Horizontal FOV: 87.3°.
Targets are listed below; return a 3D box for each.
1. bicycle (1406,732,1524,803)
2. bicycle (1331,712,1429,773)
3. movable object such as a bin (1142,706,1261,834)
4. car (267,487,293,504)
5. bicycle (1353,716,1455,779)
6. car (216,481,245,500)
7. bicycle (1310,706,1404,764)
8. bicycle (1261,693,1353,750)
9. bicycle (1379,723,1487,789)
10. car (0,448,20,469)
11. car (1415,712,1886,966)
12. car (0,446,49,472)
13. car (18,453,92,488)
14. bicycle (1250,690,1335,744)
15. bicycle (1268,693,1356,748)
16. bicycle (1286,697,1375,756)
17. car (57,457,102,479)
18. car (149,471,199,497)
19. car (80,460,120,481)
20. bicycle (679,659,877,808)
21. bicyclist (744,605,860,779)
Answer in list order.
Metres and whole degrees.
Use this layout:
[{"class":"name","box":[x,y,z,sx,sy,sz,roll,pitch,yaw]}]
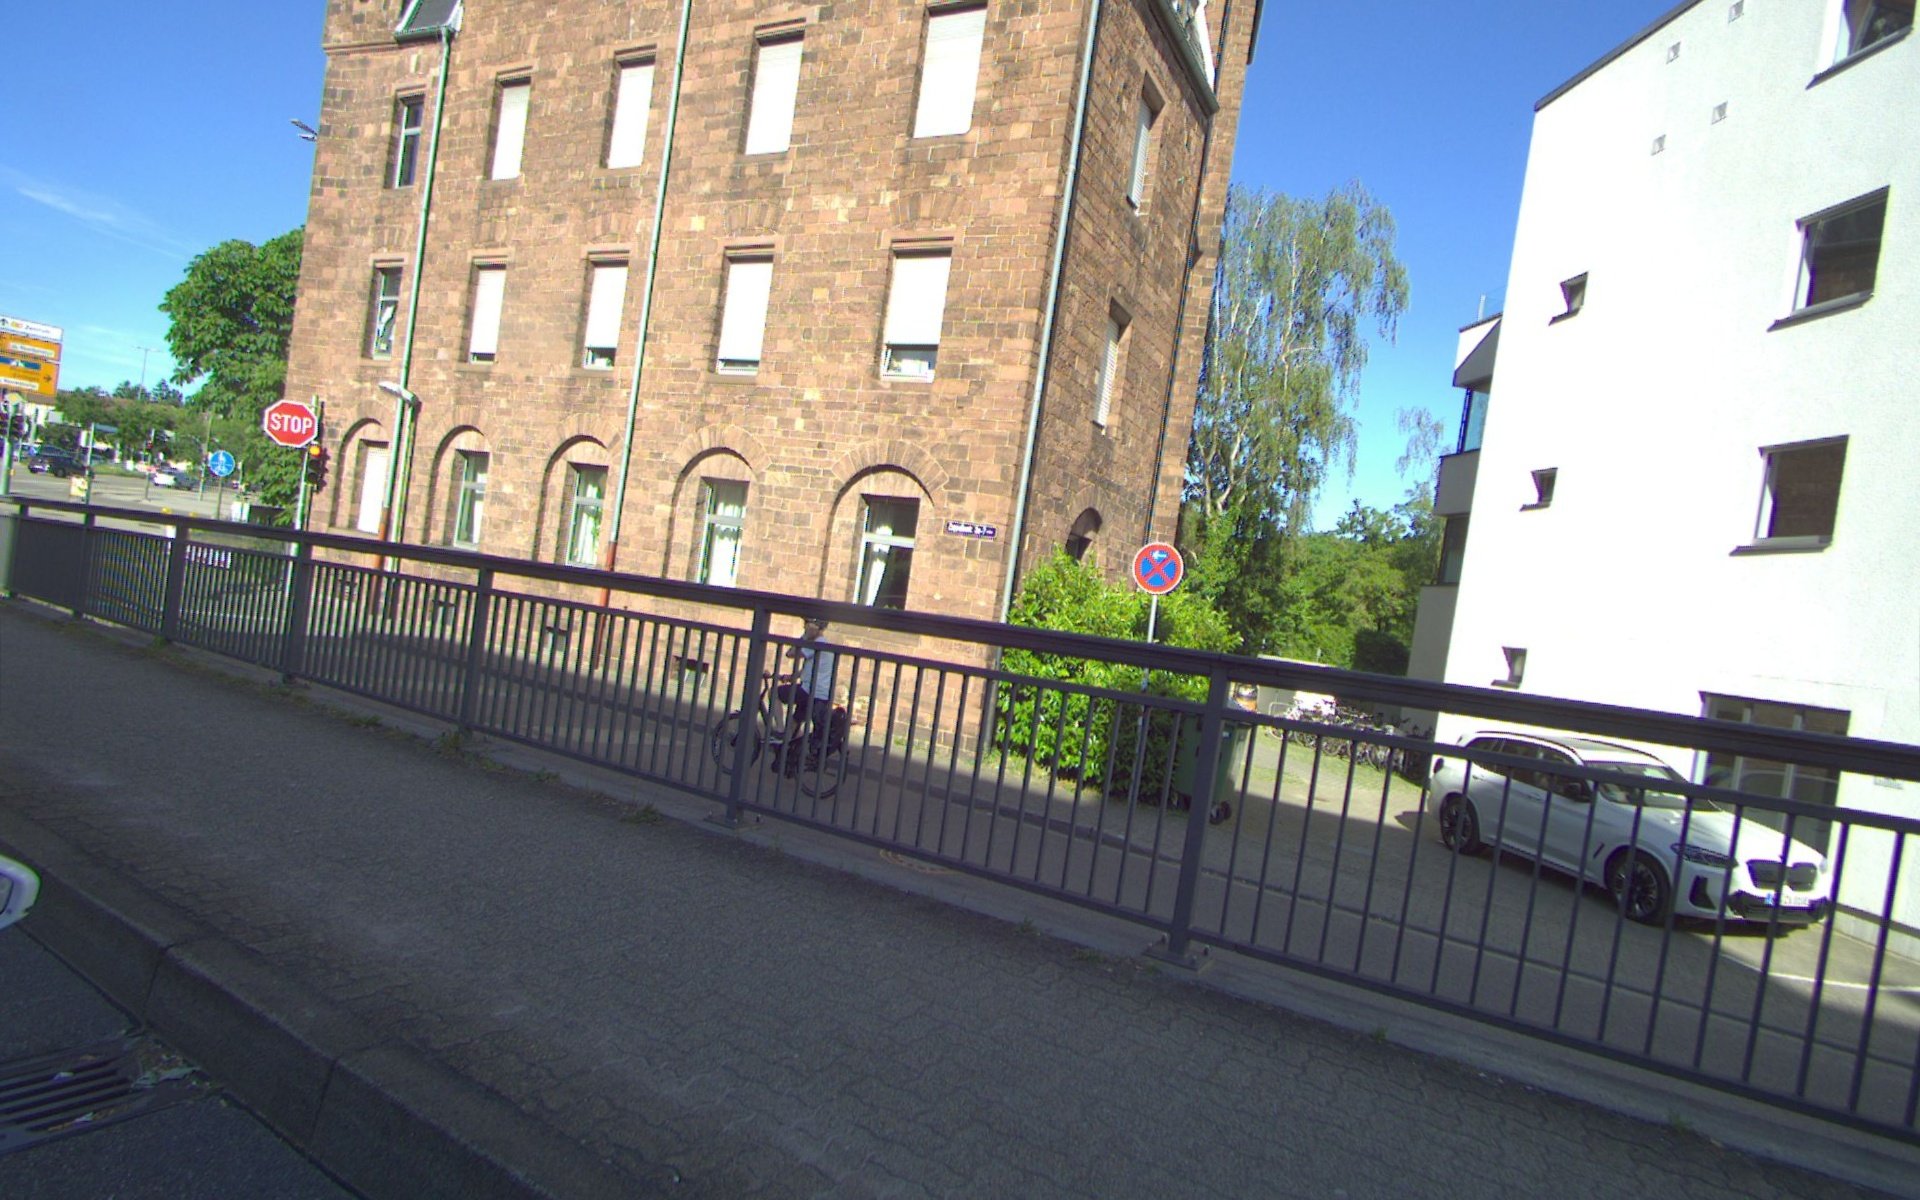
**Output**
[{"class":"bicycle","box":[9.879,3.279,19.714,1.889,1.065,0.664,8,1,-6]},{"class":"bicycle","box":[9.649,3.269,23.143,1.889,1.065,0.664,8,1,-6]},{"class":"movable object such as a bin","box":[2.973,2.041,12.338,1.011,1.307,1.005,10,0,29]},{"class":"car","box":[-79.666,-12.266,117.921,1.723,1.516,3.976,7,-1,-25]},{"class":"bicycle","box":[9.813,3.253,22.257,1.889,1.065,0.664,8,1,-6]},{"class":"car","box":[-85.109,-12.809,117.456,1.868,1.565,3.977,8,-2,-25]},{"class":"bicycle","box":[9.535,3.234,24.169,1.889,1.065,0.664,8,1,-6]},{"class":"bicycle","box":[9.051,3.171,26.264,2.075,1.174,0.664,8,1,-10]},{"class":"bicycle","box":[10.027,3.301,21.345,1.889,1.065,0.664,8,1,-6]},{"class":"car","box":[-83.638,-12.403,87.092,1.860,1.598,3.977,8,1,-22]},{"class":"car","box":[7.754,2.598,12.008,1.814,1.707,4.520,8,0,-10]},{"class":"car","box":[-78.822,-11.857,84.583,1.860,1.598,3.977,8,1,-22]},{"class":"car","box":[-61.166,-8.736,68.068,1.861,1.650,3.988,8,0,-13]},{"class":"bicycle","box":[9.291,3.273,28.152,2.075,1.174,0.664,8,1,-10]},{"class":"bicycle","box":[9.542,3.275,27.302,2.075,1.174,0.664,8,1,-10]},{"class":"bicycle","box":[9.322,3.173,25.334,1.889,1.174,0.664,8,1,-6]},{"class":"car","box":[-84.498,-12.667,96.582,1.860,1.598,3.977,8,1,-22]},{"class":"car","box":[-64.964,-9.563,83.184,1.864,1.650,3.982,8,0,-19]},{"class":"car","box":[-88.992,-13.383,104.159,1.860,1.598,3.977,8,1,-22]},{"class":"bicycle","box":[-1.888,1.339,10.412,1.805,1.154,0.690,9,0,24]},{"class":"bicyclist","box":[-1.610,0.937,10.317,0.684,1.627,0.688,9,0,24]}]
